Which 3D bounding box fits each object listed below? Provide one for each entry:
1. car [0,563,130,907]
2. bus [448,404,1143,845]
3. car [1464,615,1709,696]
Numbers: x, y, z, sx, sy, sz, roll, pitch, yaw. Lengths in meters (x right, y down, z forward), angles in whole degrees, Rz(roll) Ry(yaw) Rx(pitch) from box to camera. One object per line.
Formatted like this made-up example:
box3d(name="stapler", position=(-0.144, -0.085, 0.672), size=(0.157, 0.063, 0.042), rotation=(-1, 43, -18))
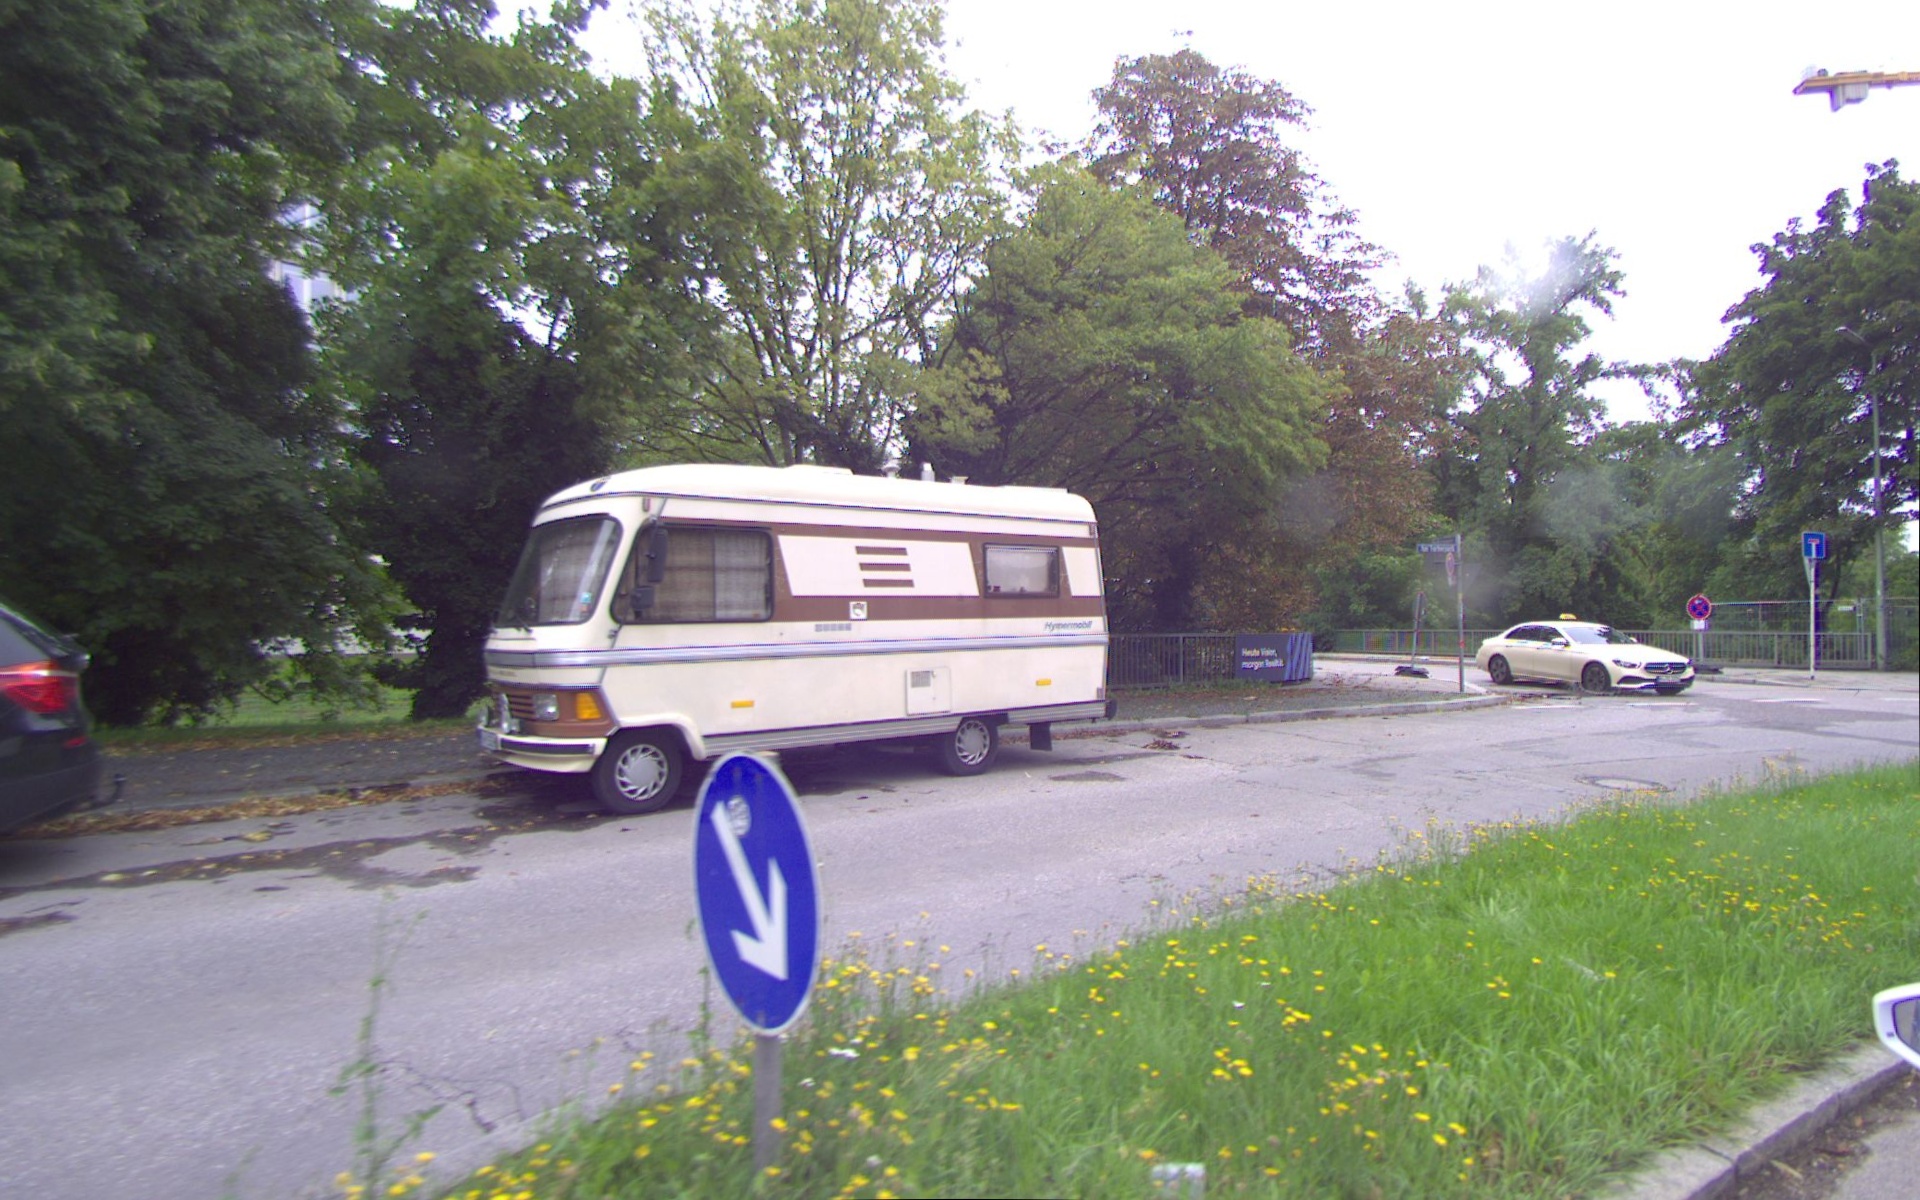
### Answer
box3d(name="car", position=(-6.508, 0.652, 4.300), size=(4.431, 1.671, 1.758), rotation=(1, -2, -45))
box3d(name="bus", position=(-1.185, 0.212, 8.886), size=(5.681, 2.734, 2.298), rotation=(1, -2, -37))
box3d(name="car", position=(13.509, 1.140, 22.102), size=(1.859, 1.565, 4.846), rotation=(0, -1, -9))
